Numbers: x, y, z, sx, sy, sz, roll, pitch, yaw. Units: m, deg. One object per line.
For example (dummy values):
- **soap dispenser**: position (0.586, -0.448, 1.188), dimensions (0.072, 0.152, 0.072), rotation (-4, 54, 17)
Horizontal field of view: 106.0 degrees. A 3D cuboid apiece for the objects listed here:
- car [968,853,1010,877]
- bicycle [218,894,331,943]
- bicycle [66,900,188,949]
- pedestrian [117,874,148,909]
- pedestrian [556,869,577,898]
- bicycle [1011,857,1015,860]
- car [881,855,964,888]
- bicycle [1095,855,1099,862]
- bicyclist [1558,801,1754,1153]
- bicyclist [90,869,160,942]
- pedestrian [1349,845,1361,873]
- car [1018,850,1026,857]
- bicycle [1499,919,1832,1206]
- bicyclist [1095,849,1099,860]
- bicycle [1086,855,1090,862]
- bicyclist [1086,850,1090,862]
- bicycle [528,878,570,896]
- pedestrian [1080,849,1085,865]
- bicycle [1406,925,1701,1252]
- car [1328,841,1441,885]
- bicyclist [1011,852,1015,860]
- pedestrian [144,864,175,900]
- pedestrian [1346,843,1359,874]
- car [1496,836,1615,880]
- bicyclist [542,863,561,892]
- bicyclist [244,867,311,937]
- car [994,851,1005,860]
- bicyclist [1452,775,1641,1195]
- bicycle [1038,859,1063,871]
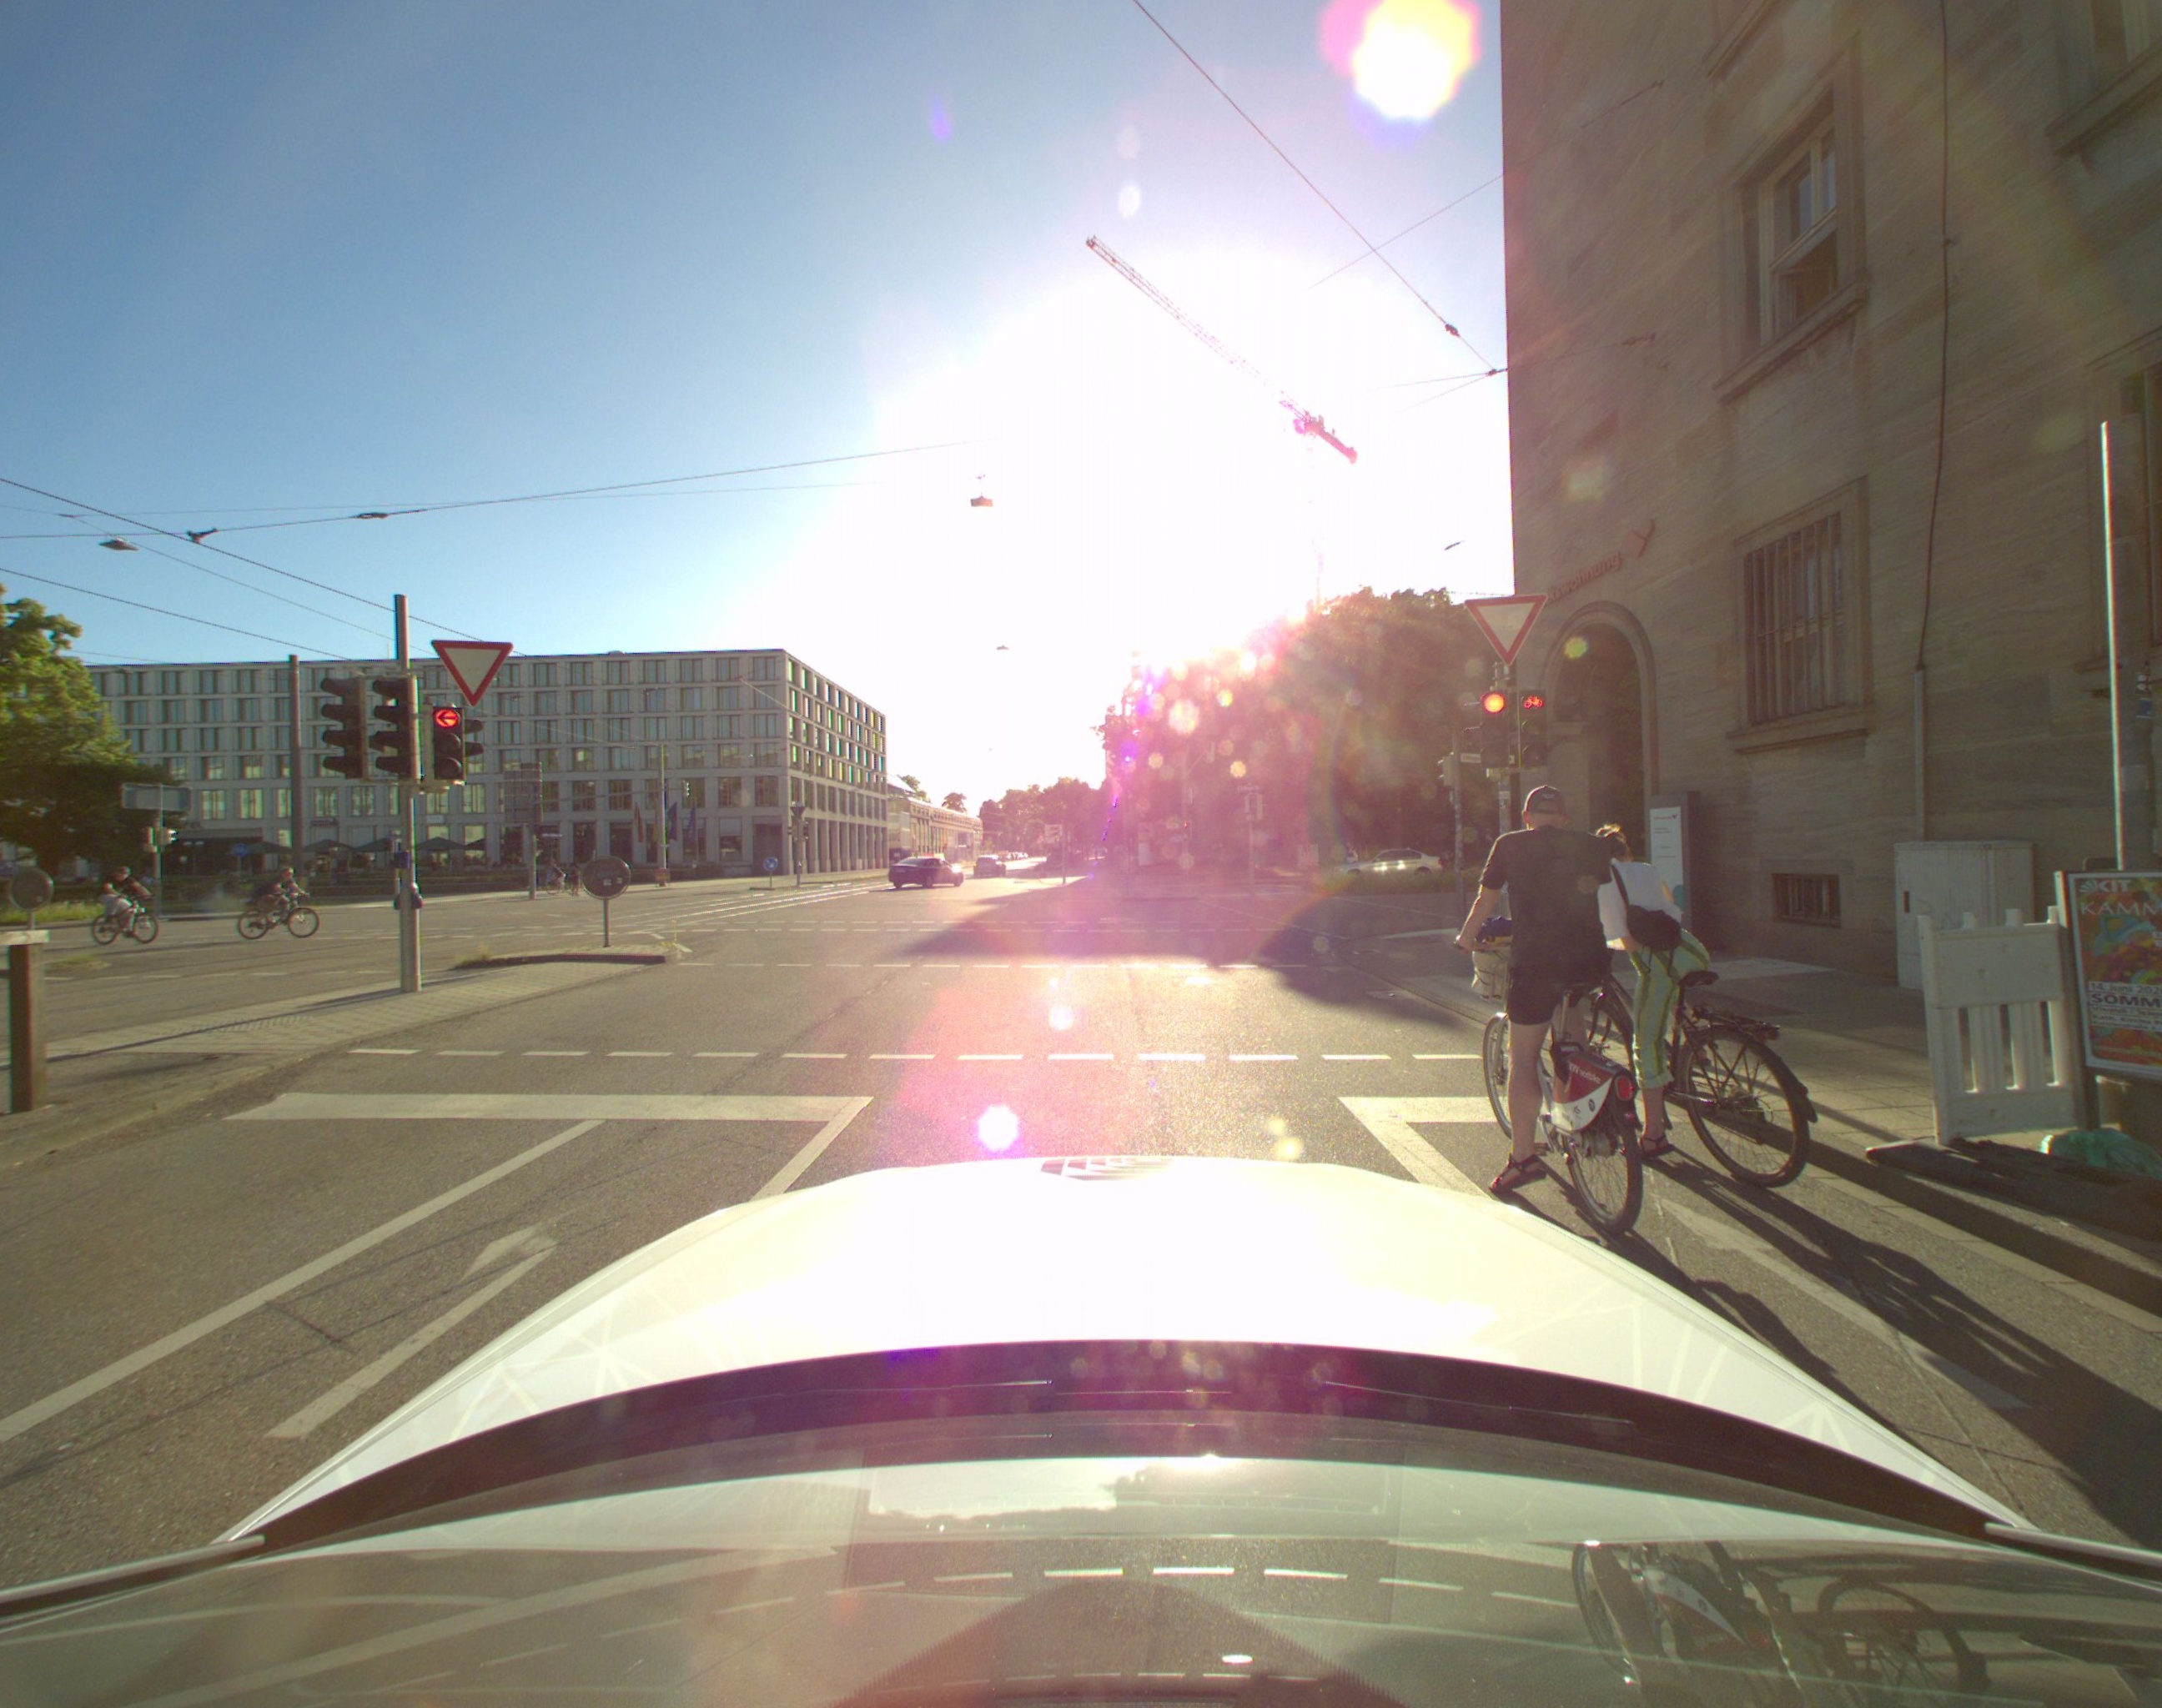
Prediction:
- **car**: position (-6.365, 0.716, 56.926), dimensions (1.882, 1.565, 4.815), rotation (1, 0, 6)
- **bicycle**: position (-17.258, 1.370, 17.440), dimensions (1.737, 0.935, 0.646), rotation (-2, 0, 0)
- **bicycle**: position (-20.621, 1.514, 17.618), dimensions (1.853, 0.935, 0.559), rotation (-2, 0, -4)
- **pedestrian**: position (-52.282, 2.074, 44.898), dimensions (0.711, 1.900, 0.877), rotation (-1, -1, 11)
- **pedestrian**: position (-28.712, 1.625, 45.476), dimensions (0.775, 1.589, 0.589), rotation (-2, 0, -10)
- **bicycle**: position (-11.762, 0.840, 140.433), dimensions (0.499, 0.515, 1.258), rotation (0, -1, 1)
- **car**: position (-7.483, 0.811, 38.893), dimensions (1.645, 1.455, 4.457), rotation (-1, 0, 24)
- **bicycle**: position (2.328, 0.654, 119.141), dimensions (0.573, 1.077, 1.831), rotation (-2, 0, 1)
- **bicyclist**: position (2.957, 0.592, 4.246), dimensions (0.556, 1.691, 0.640), rotation (-1, 0, 0)
- **bicyclist**: position (-20.680, 1.097, 17.625), dimensions (0.761, 1.524, 0.606), rotation (-2, 0, -3)
- **pedestrian**: position (14.936, 0.266, 44.414), dimensions (0.437, 1.503, 0.437), rotation (-2, 0, 3)
- **car**: position (-14.225, -0.116, 195.323), dimensions (1.688, 1.718, 4.245), rotation (0, -1, -1)
- **bicycle**: position (2.946, 0.959, 4.353), dimensions (0.532, 1.077, 1.751), rotation (-1, 0, 1)
- **bicyclist**: position (2.308, 0.094, 119.172), dimensions (0.567, 1.691, 0.700), rotation (-2, 0, 1)
- **bicycle**: position (1.014, 0.663, 119.050), dimensions (0.573, 1.077, 1.831), rotation (-2, 0, 1)
- **bicyclist**: position (0.999, 0.247, 119.040), dimensions (0.567, 1.691, 0.700), rotation (-2, 0, 1)
- **bicycle**: position (-30.310, 1.884, 46.433), dimensions (1.865, 0.935, 0.757), rotation (-2, 0, -23)
- **pedestrian**: position (0.179, 0.367, 98.443), dimensions (0.462, 1.813, 0.502), rotation (-2, 0, -3)
- **bicycle**: position (2.124, 0.958, 3.937), dimensions (0.513, 1.077, 1.729), rotation (-1, 0, 4)
- **car**: position (12.351, 0.352, 33.255), dimensions (3.979, 1.611, 1.650), rotation (-2, 0, 1)
- **bicyclist**: position (-11.780, 0.263, 140.426), dimensions (0.594, 1.377, 0.637), rotation (0, -1, 0)
- **pedestrian**: position (-52.195, 1.578, 46.121), dimensions (0.837, 2.014, 0.827), rotation (-1, -1, 11)
- **pedestrian**: position (14.632, 0.230, 43.876), dimensions (0.580, 1.663, 0.515), rotation (0, 1, 4)
- **car**: position (19.152, 0.147, 32.978), dimensions (3.835, 1.611, 1.650), rotation (-2, 0, 1)
- **bicyclist**: position (-30.217, 1.339, 46.487), dimensions (0.778, 1.589, 0.756), rotation (-2, 0, -22)
- **bicyclist**: position (-17.185, 1.016, 17.430), dimensions (0.796, 1.450, 0.617), rotation (-1, 0, -1)
- **car**: position (-15.656, 0.266, 157.073), dimensions (1.688, 1.718, 4.245), rotation (0, -1, -1)
- **bicyclist**: position (2.126, 0.561, 3.779), dimensions (0.556, 1.799, 0.551), rotation (-1, 0, 3)
- **bicycle**: position (-2.565, 0.907, 67.704), dimensions (1.996, 0.891, 0.655), rotation (-4, -1, 29)
